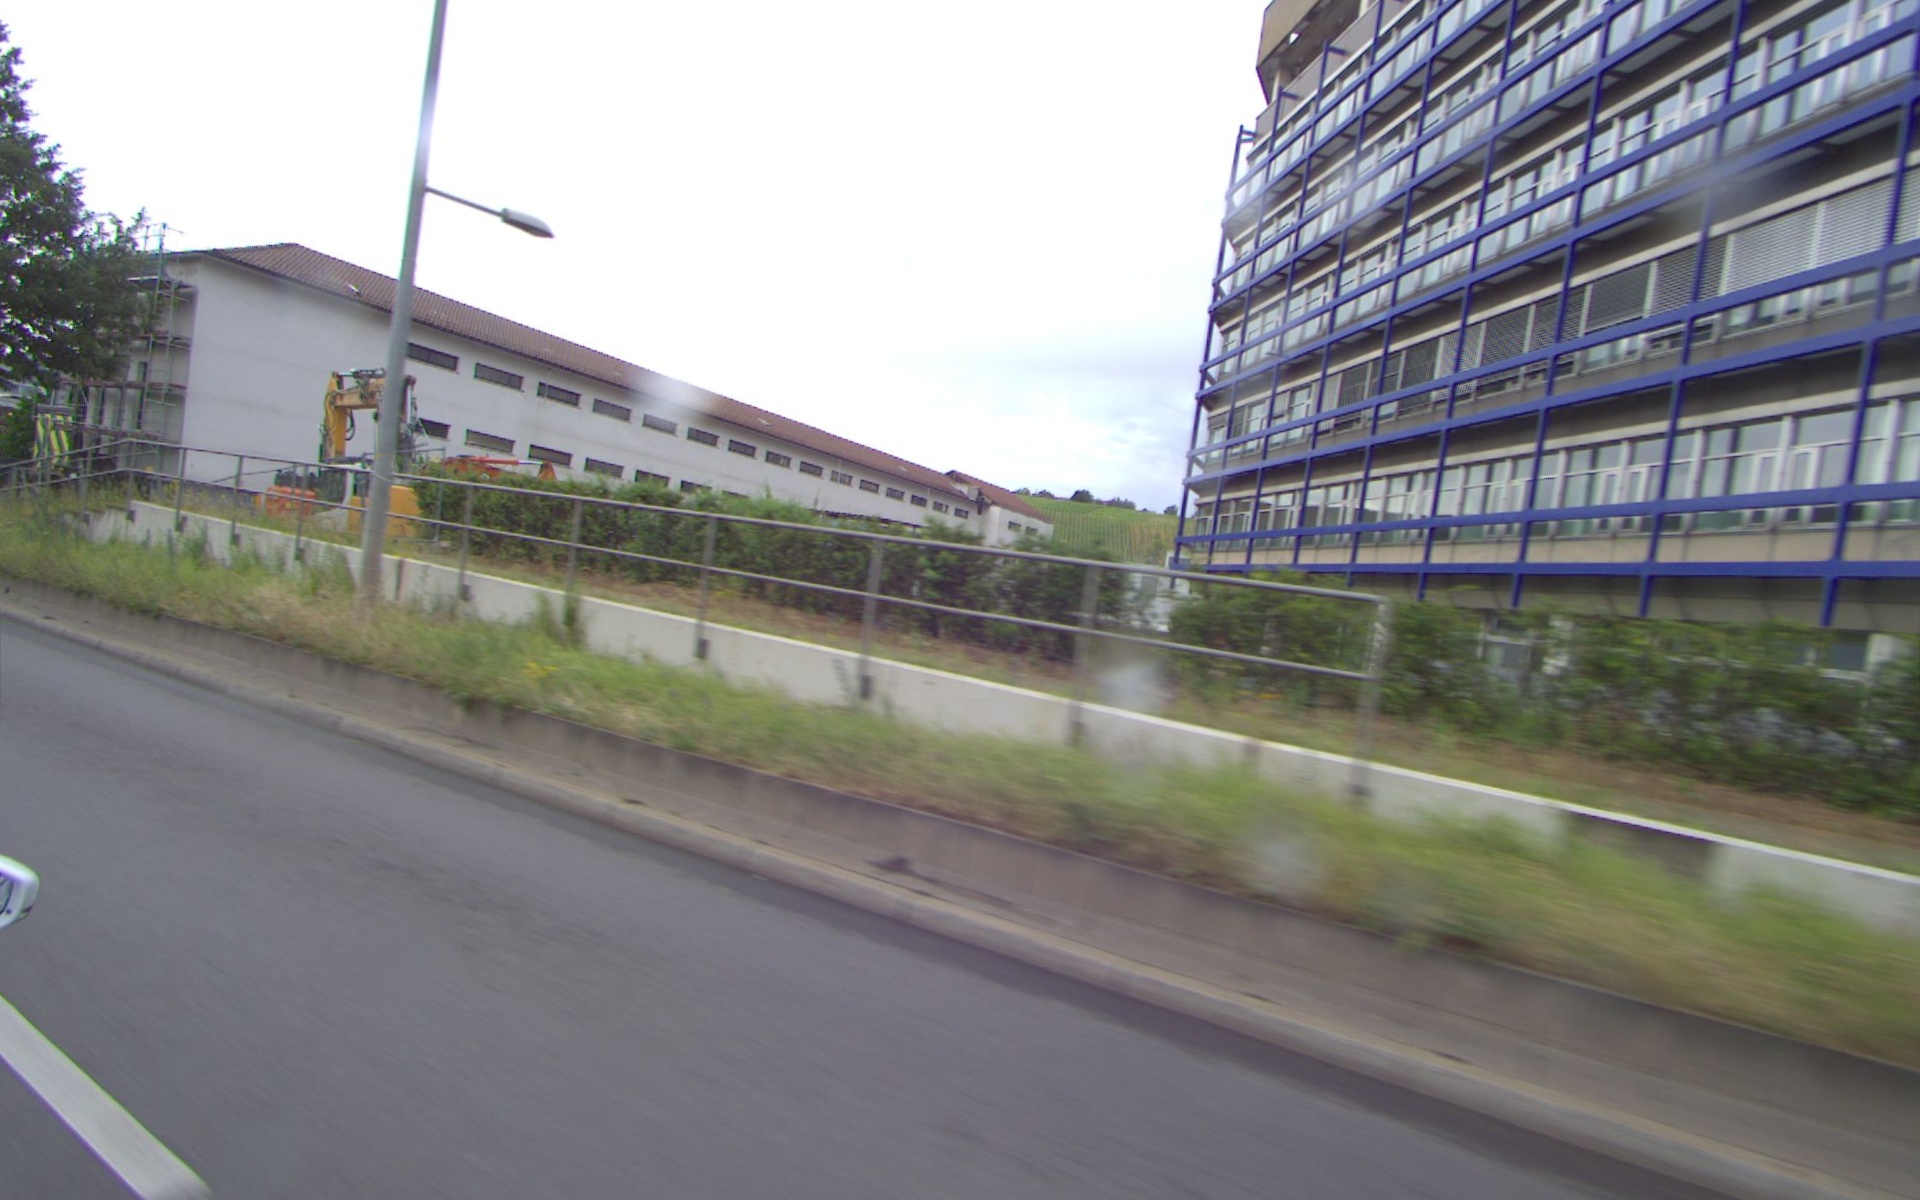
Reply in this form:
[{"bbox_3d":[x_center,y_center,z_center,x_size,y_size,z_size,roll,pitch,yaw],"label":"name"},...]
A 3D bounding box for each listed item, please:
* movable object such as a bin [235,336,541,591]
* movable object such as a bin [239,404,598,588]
[{"bbox_3d":[-15.932,-3.610,27.748,8.624,5.750,3.294,6,-2,34],"label":"movable object such as a bin"},{"bbox_3d":[-21.026,-3.758,40.445,3.727,5.326,12.156,6,-1,31],"label":"movable object such as a bin"}]
